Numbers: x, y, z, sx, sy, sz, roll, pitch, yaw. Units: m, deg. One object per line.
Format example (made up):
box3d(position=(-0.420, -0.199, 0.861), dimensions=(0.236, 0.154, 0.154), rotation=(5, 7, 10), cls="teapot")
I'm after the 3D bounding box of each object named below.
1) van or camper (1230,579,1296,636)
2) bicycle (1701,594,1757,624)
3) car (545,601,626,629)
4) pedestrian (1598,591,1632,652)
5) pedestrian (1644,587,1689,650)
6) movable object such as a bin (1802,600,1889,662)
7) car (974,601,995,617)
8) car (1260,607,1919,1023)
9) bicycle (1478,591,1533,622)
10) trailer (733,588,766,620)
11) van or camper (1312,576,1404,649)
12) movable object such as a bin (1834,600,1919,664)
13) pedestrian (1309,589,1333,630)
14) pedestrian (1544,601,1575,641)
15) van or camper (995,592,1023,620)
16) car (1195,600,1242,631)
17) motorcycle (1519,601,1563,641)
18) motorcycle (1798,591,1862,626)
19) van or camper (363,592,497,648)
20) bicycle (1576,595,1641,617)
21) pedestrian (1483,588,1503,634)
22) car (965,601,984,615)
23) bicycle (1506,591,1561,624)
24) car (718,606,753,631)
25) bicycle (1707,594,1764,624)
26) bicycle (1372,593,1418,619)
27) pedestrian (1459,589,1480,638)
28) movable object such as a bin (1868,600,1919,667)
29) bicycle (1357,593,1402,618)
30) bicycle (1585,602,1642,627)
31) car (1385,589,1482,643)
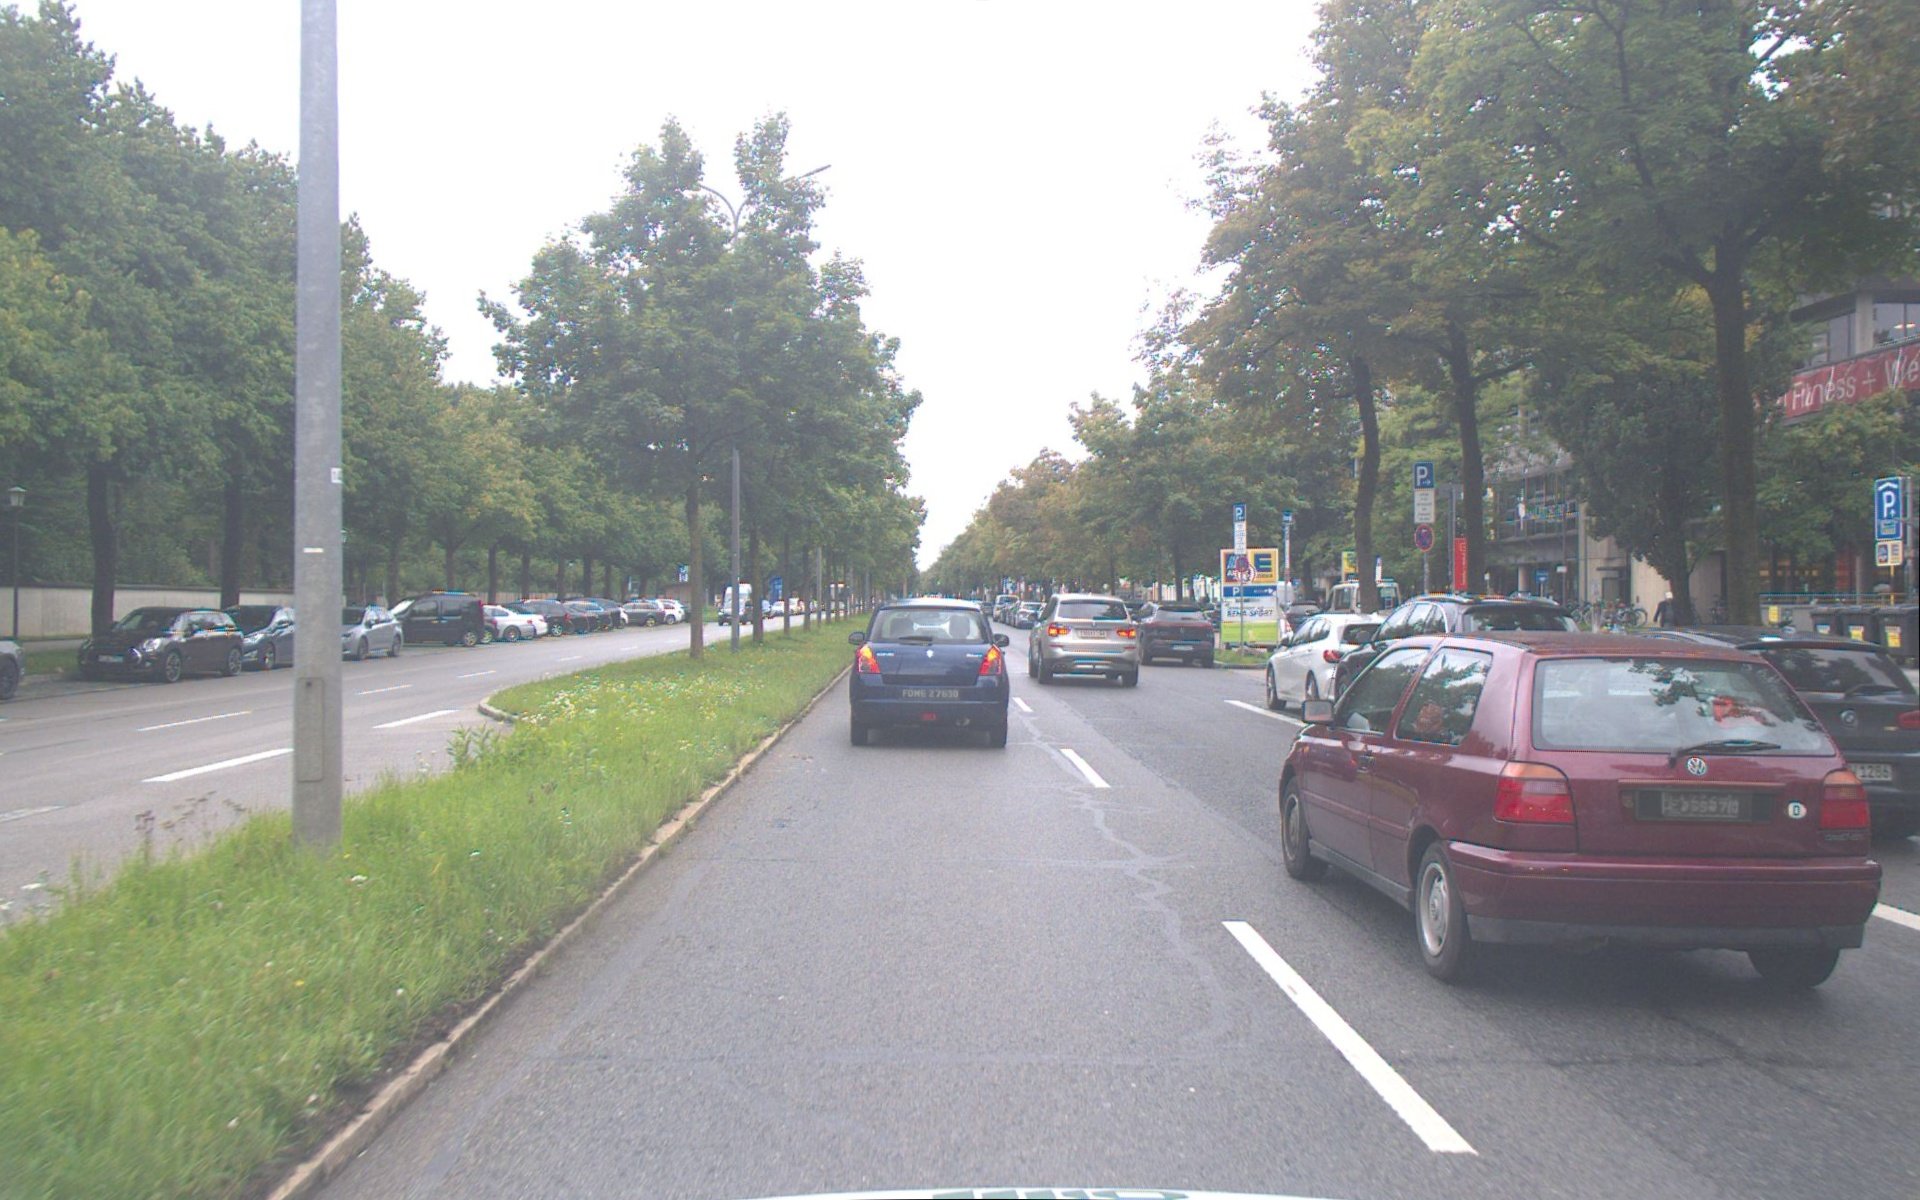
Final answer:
box3d(position=(14.377, 0.343, 78.835), dimensions=(1.983, 2.602, 5.955), rotation=(0, 0, -1), cls="van or camper")
box3d(position=(31.721, 0.365, 68.230), dimensions=(2.094, 1.225, 0.586), rotation=(0, 0, -4), cls="bicycle")
box3d(position=(-20.770, 0.806, 91.737), dimensions=(4.054, 1.527, 1.898), rotation=(0, 0, -32), cls="car")
box3d(position=(19.207, 0.613, 48.522), dimensions=(0.528, 1.751, 0.987), rotation=(-2, 0, -1), cls="pedestrian")
box3d(position=(20.297, 0.521, 47.522), dimensions=(0.811, 1.751, 0.939), rotation=(-2, 0, -1), cls="pedestrian")
box3d(position=(20.644, 0.708, 38.585), dimensions=(1.309, 1.434, 1.314), rotation=(0, 0, -3), cls="movable object such as a bin")
box3d(position=(2.363, 0.858, 160.428), dimensions=(1.813, 1.472, 4.095), rotation=(0, 0, -3), cls="car")
box3d(position=(2.650, 0.782, 7.945), dimensions=(1.589, 1.479, 3.948), rotation=(0, 0, -2), cls="car")
box3d(position=(26.741, 0.316, 81.027), dimensions=(2.566, 1.534, 0.795), rotation=(0, 0, -15), cls="bicycle")
box3d(position=(-17.187, 0.331, 135.346), dimensions=(2.063, 2.585, 5.575), rotation=(0, 0, -1), cls="trailer")
box3d(position=(14.868, 0.429, 62.141), dimensions=(1.953, 2.602, 5.955), rotation=(0, 0, -1), cls="van or camper")
box3d(position=(20.695, 0.709, 37.236), dimensions=(1.309, 1.434, 1.314), rotation=(0, 0, -3), cls="movable object such as a bin")
box3d(position=(16.545, 0.435, 75.800), dimensions=(0.857, 1.883, 0.903), rotation=(1, 0, -3), cls="pedestrian")
box3d(position=(20.302, 0.717, 56.002), dimensions=(0.718, 1.313, 0.697), rotation=(-2, -1, -6), cls="pedestrian")
box3d(position=(3.629, 0.434, 122.084), dimensions=(1.905, 2.009, 4.305), rotation=(0, 0, 0), cls="van or camper")
box3d(position=(14.119, 0.830, 90.434), dimensions=(1.650, 1.661, 4.495), rotation=(0, 0, -3), cls="car")
box3d(position=(20.268, 0.733, 57.736), dimensions=(0.682, 1.313, 2.066), rotation=(-4, 0, -1), cls="motorcycle")
box3d(position=(32.024, 0.318, 60.920), dimensions=(0.852, 1.251, 2.374), rotation=(-2, 0, -8), cls="motorcycle")
box3d(position=(-18.515, 0.690, 57.858), dimensions=(4.090, 1.887, 1.822), rotation=(0, 0, -42), cls="van or camper")
box3d(position=(26.357, 0.230, 67.224), dimensions=(2.361, 0.885, 0.766), rotation=(0, 0, 43), cls="bicycle")
box3d(position=(20.823, 0.439, 64.637), dimensions=(0.563, 1.782, 0.732), rotation=(0, 0, 3), cls="pedestrian")
box3d(position=(1.491, 0.809, 174.254), dimensions=(1.813, 1.472, 4.095), rotation=(0, 0, -3), cls="car")
box3d(position=(26.711, 0.328, 77.004), dimensions=(2.574, 1.534, 0.793), rotation=(0, 0, -23), cls="bicycle")
box3d(position=(-14.425, 1.154, 106.420), dimensions=(1.875, 1.569, 4.185), rotation=(0, 0, -3), cls="car")
box3d(position=(31.703, 0.366, 67.612), dimensions=(2.094, 1.225, 0.586), rotation=(0, 0, -4), cls="bicycle")
box3d(position=(25.924, 0.341, 98.660), dimensions=(2.560, 1.534, 0.797), rotation=(0, 0, -8), cls="bicycle")
box3d(position=(18.458, 0.495, 59.965), dimensions=(0.563, 1.782, 0.732), rotation=(0, 0, 3), cls="pedestrian")
box3d(position=(20.739, 0.710, 35.890), dimensions=(1.309, 1.434, 1.314), rotation=(0, 0, -3), cls="movable object such as a bin")
box3d(position=(26.037, 0.345, 102.678), dimensions=(2.560, 1.534, 0.797), rotation=(0, 0, -8), cls="bicycle")
box3d(position=(26.002, 0.566, 65.844), dimensions=(2.012, 0.975, 0.742), rotation=(0, 0, 43), cls="bicycle")
box3d(position=(15.389, 0.506, 53.937), dimensions=(1.953, 1.680, 3.999), rotation=(0, 0, -1), cls="car")
